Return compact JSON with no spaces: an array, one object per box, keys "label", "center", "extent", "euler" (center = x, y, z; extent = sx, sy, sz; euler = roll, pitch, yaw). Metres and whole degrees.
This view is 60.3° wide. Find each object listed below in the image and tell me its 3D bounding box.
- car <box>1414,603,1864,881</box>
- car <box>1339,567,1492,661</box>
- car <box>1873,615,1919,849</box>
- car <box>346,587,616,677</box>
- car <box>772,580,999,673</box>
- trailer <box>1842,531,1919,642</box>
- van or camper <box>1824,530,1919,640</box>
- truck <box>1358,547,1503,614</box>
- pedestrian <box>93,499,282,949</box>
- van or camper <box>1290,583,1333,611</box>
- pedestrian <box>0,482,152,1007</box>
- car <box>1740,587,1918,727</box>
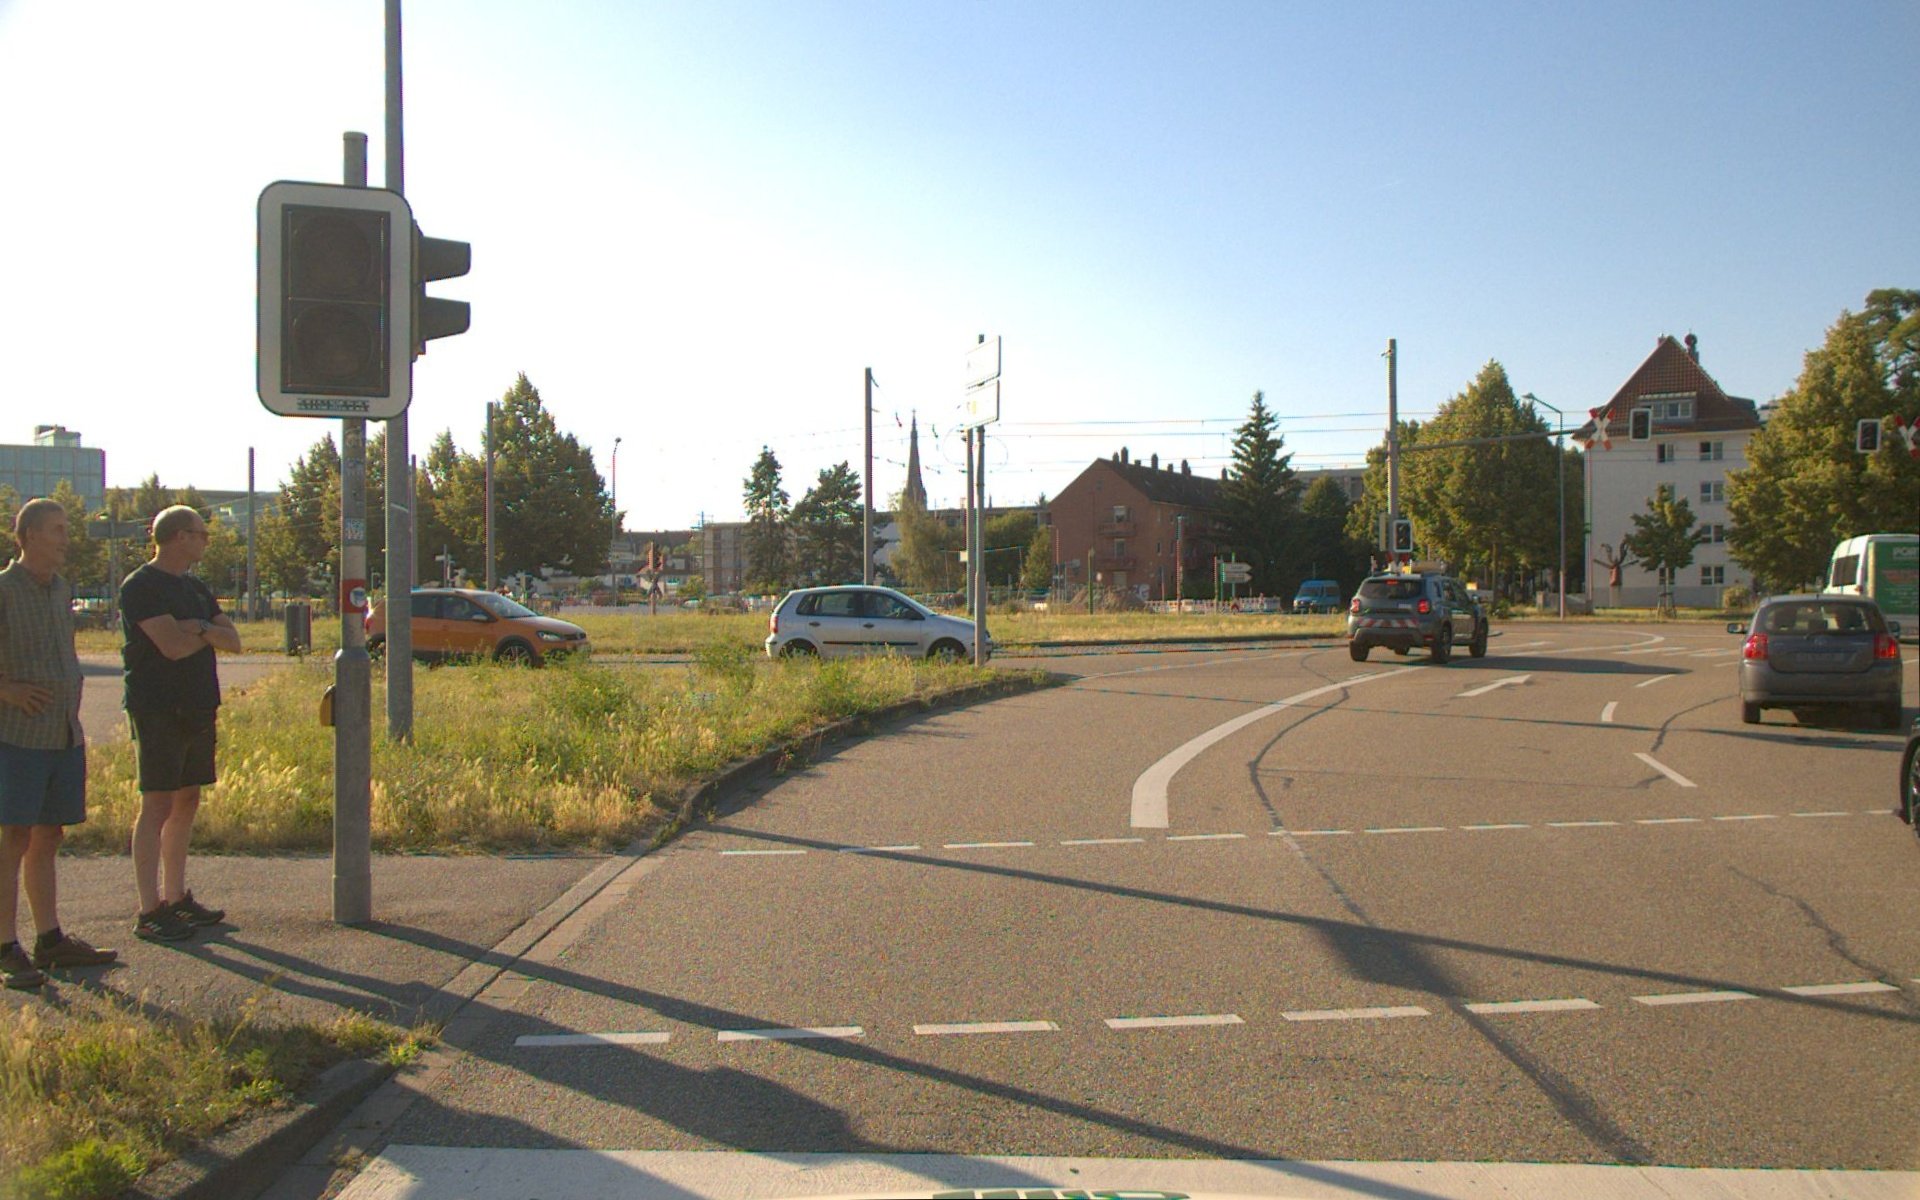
[{"label":"car","center":[4.668,0.864,12.024],"extent":[1.569,1.638,3.999],"euler":[-1,0,-1]},{"label":"car","center":[8.811,0.256,31.773],"extent":[1.870,1.689,3.992],"euler":[-1,0,30]},{"label":"car","center":[6.287,0.818,8.039],"extent":[1.814,1.361,4.629],"euler":[0,1,10]},{"label":"car","center":[-8.231,0.540,28.581],"extent":[4.037,1.470,1.911],"euler":[-1,0,9]},{"label":"car","center":[-1.203,0.428,27.862],"extent":[3.670,1.459,1.836],"euler":[-1,0,0]},{"label":"trailer","center":[21.642,-0.286,38.040],"extent":[2.053,2.442,3.490],"euler":[1,0,33]},{"label":"van or camper","center":[24.322,-0.377,43.456],"extent":[2.238,2.675,6.582],"euler":[1,0,22]},{"label":"truck","center":[19.166,-0.760,67.695],"extent":[2.543,2.602,6.214],"euler":[-1,0,-20]},{"label":"pedestrian","center":[-3.366,0.518,7.245],"extent":[0.476,1.876,0.672],"euler":[-1,0,2]},{"label":"van or camper","center":[27.650,-0.252,129.926],"extent":[2.054,2.192,4.415],"euler":[-1,0,29]},{"label":"pedestrian","center":[-3.545,0.510,6.299],"extent":[0.476,1.876,0.720],"euler":[0,1,19]},{"label":"car","center":[10.446,0.608,19.902],"extent":[1.714,1.499,3.814],"euler":[-1,0,28]}]
